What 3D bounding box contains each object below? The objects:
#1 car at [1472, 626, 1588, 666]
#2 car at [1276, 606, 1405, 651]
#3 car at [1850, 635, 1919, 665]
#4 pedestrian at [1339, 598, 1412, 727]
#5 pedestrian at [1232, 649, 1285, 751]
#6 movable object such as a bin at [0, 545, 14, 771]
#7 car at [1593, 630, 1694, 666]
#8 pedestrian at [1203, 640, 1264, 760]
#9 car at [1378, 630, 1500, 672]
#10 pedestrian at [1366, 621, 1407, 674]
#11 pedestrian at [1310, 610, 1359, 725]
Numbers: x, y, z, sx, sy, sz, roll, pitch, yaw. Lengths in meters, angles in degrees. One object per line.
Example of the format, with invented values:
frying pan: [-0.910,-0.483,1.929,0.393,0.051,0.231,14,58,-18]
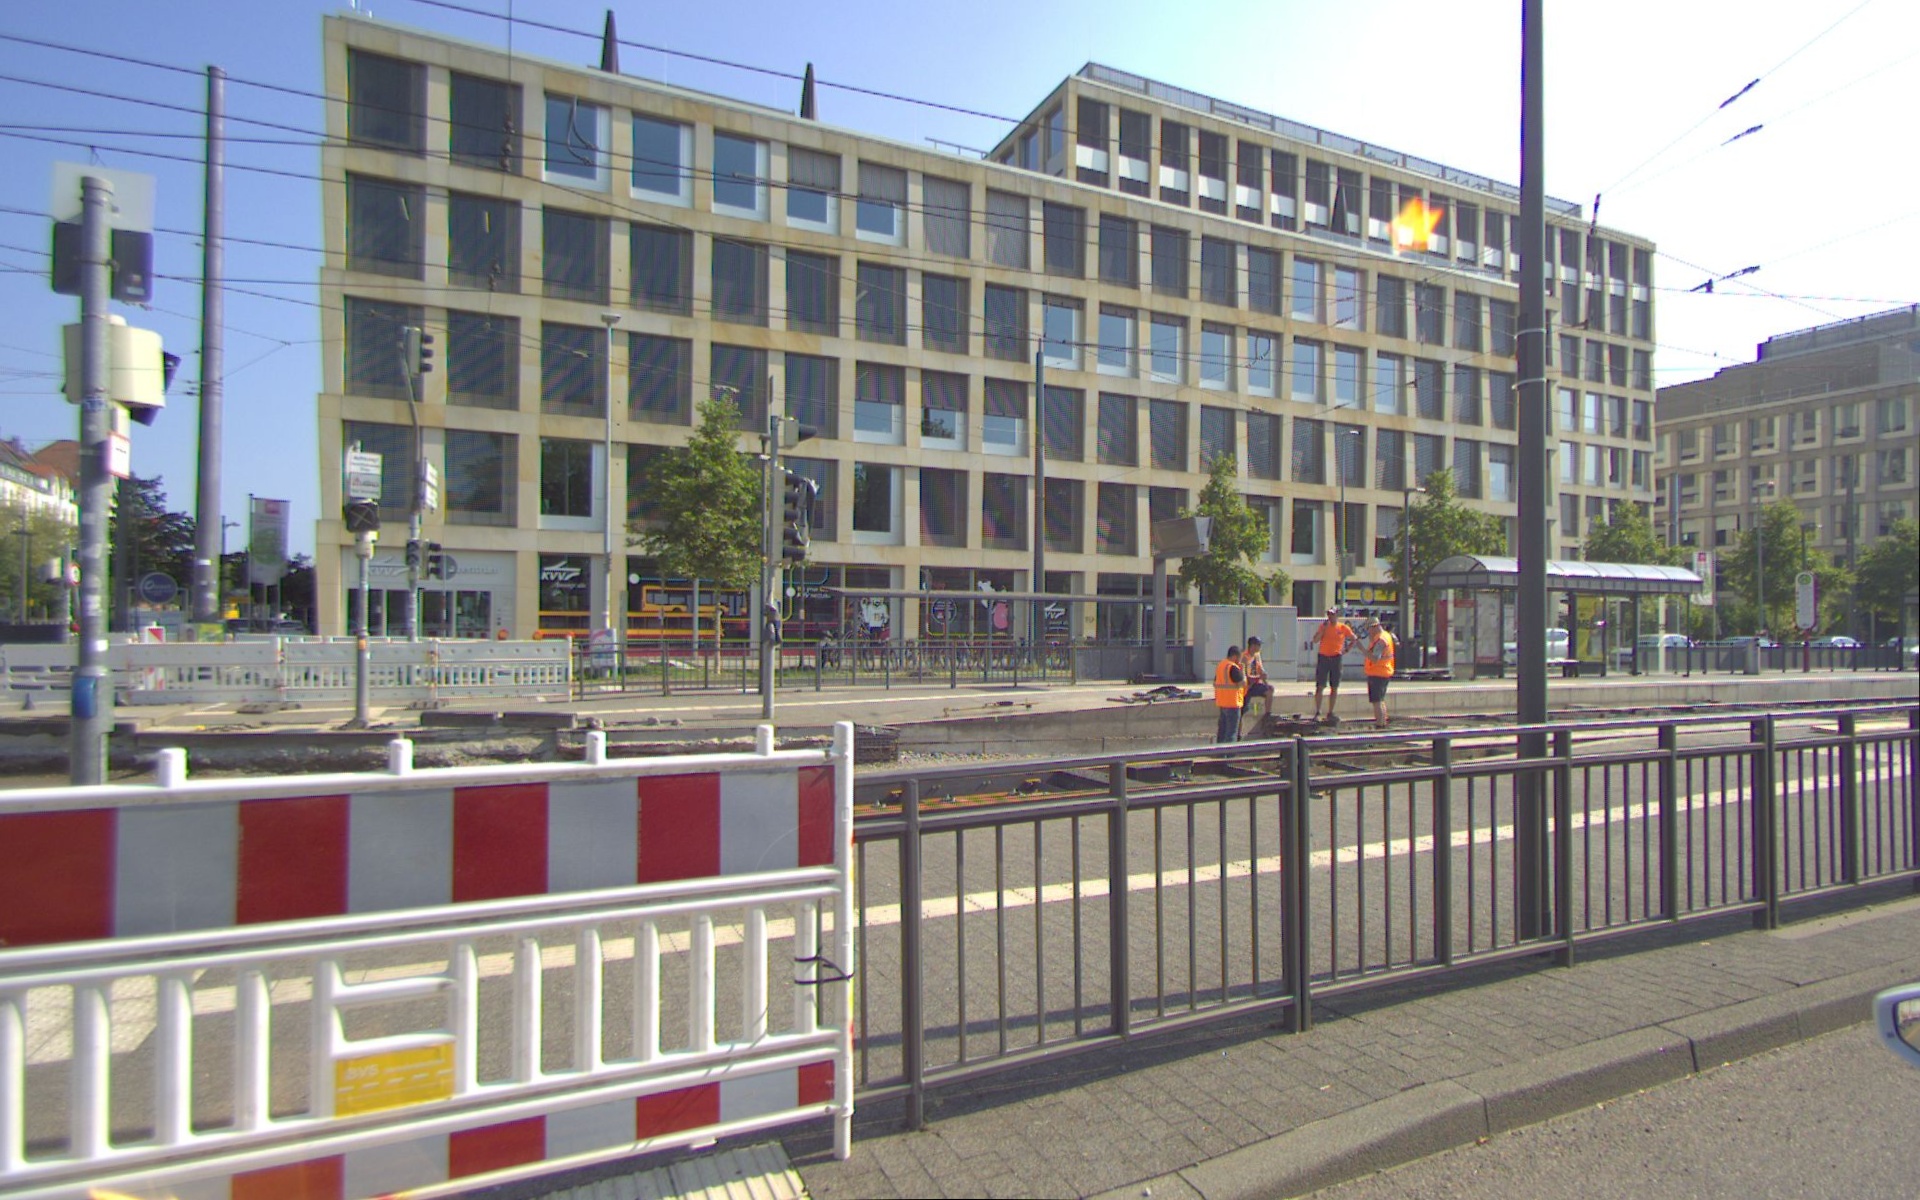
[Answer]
car: [21.542,1.709,37.916,4.315,1.426,1.678,1,-2,-26]
car: [12.819,0.964,33.806,3.947,1.422,1.896,1,-2,-26]
car: [46.753,2.478,50.352,4.315,1.426,1.678,1,-2,-26]
pedestrian: [6.523,0.968,15.796,0.774,1.976,0.724,0,-1,-10]
pedestrian: [4.823,1.594,16.229,0.631,1.575,0.623,-1,-1,39]
movable object such as a bin: [-15.878,0.649,10.149,8.362,2.997,3.602,2,0,-25]
car: [27.978,1.925,41.117,4.028,1.426,1.678,1,-2,-26]
pedestrian: [3.974,1.435,14.641,0.756,1.685,0.669,0,-1,9]
car: [17.033,1.785,35.737,3.947,1.422,1.896,1,-2,-26]
pedestrian: [13.779,1.516,32.449,0.867,1.698,0.835,1,-1,-23]
pedestrian: [6.170,1.090,16.542,0.616,1.840,0.639,-1,-1,33]
